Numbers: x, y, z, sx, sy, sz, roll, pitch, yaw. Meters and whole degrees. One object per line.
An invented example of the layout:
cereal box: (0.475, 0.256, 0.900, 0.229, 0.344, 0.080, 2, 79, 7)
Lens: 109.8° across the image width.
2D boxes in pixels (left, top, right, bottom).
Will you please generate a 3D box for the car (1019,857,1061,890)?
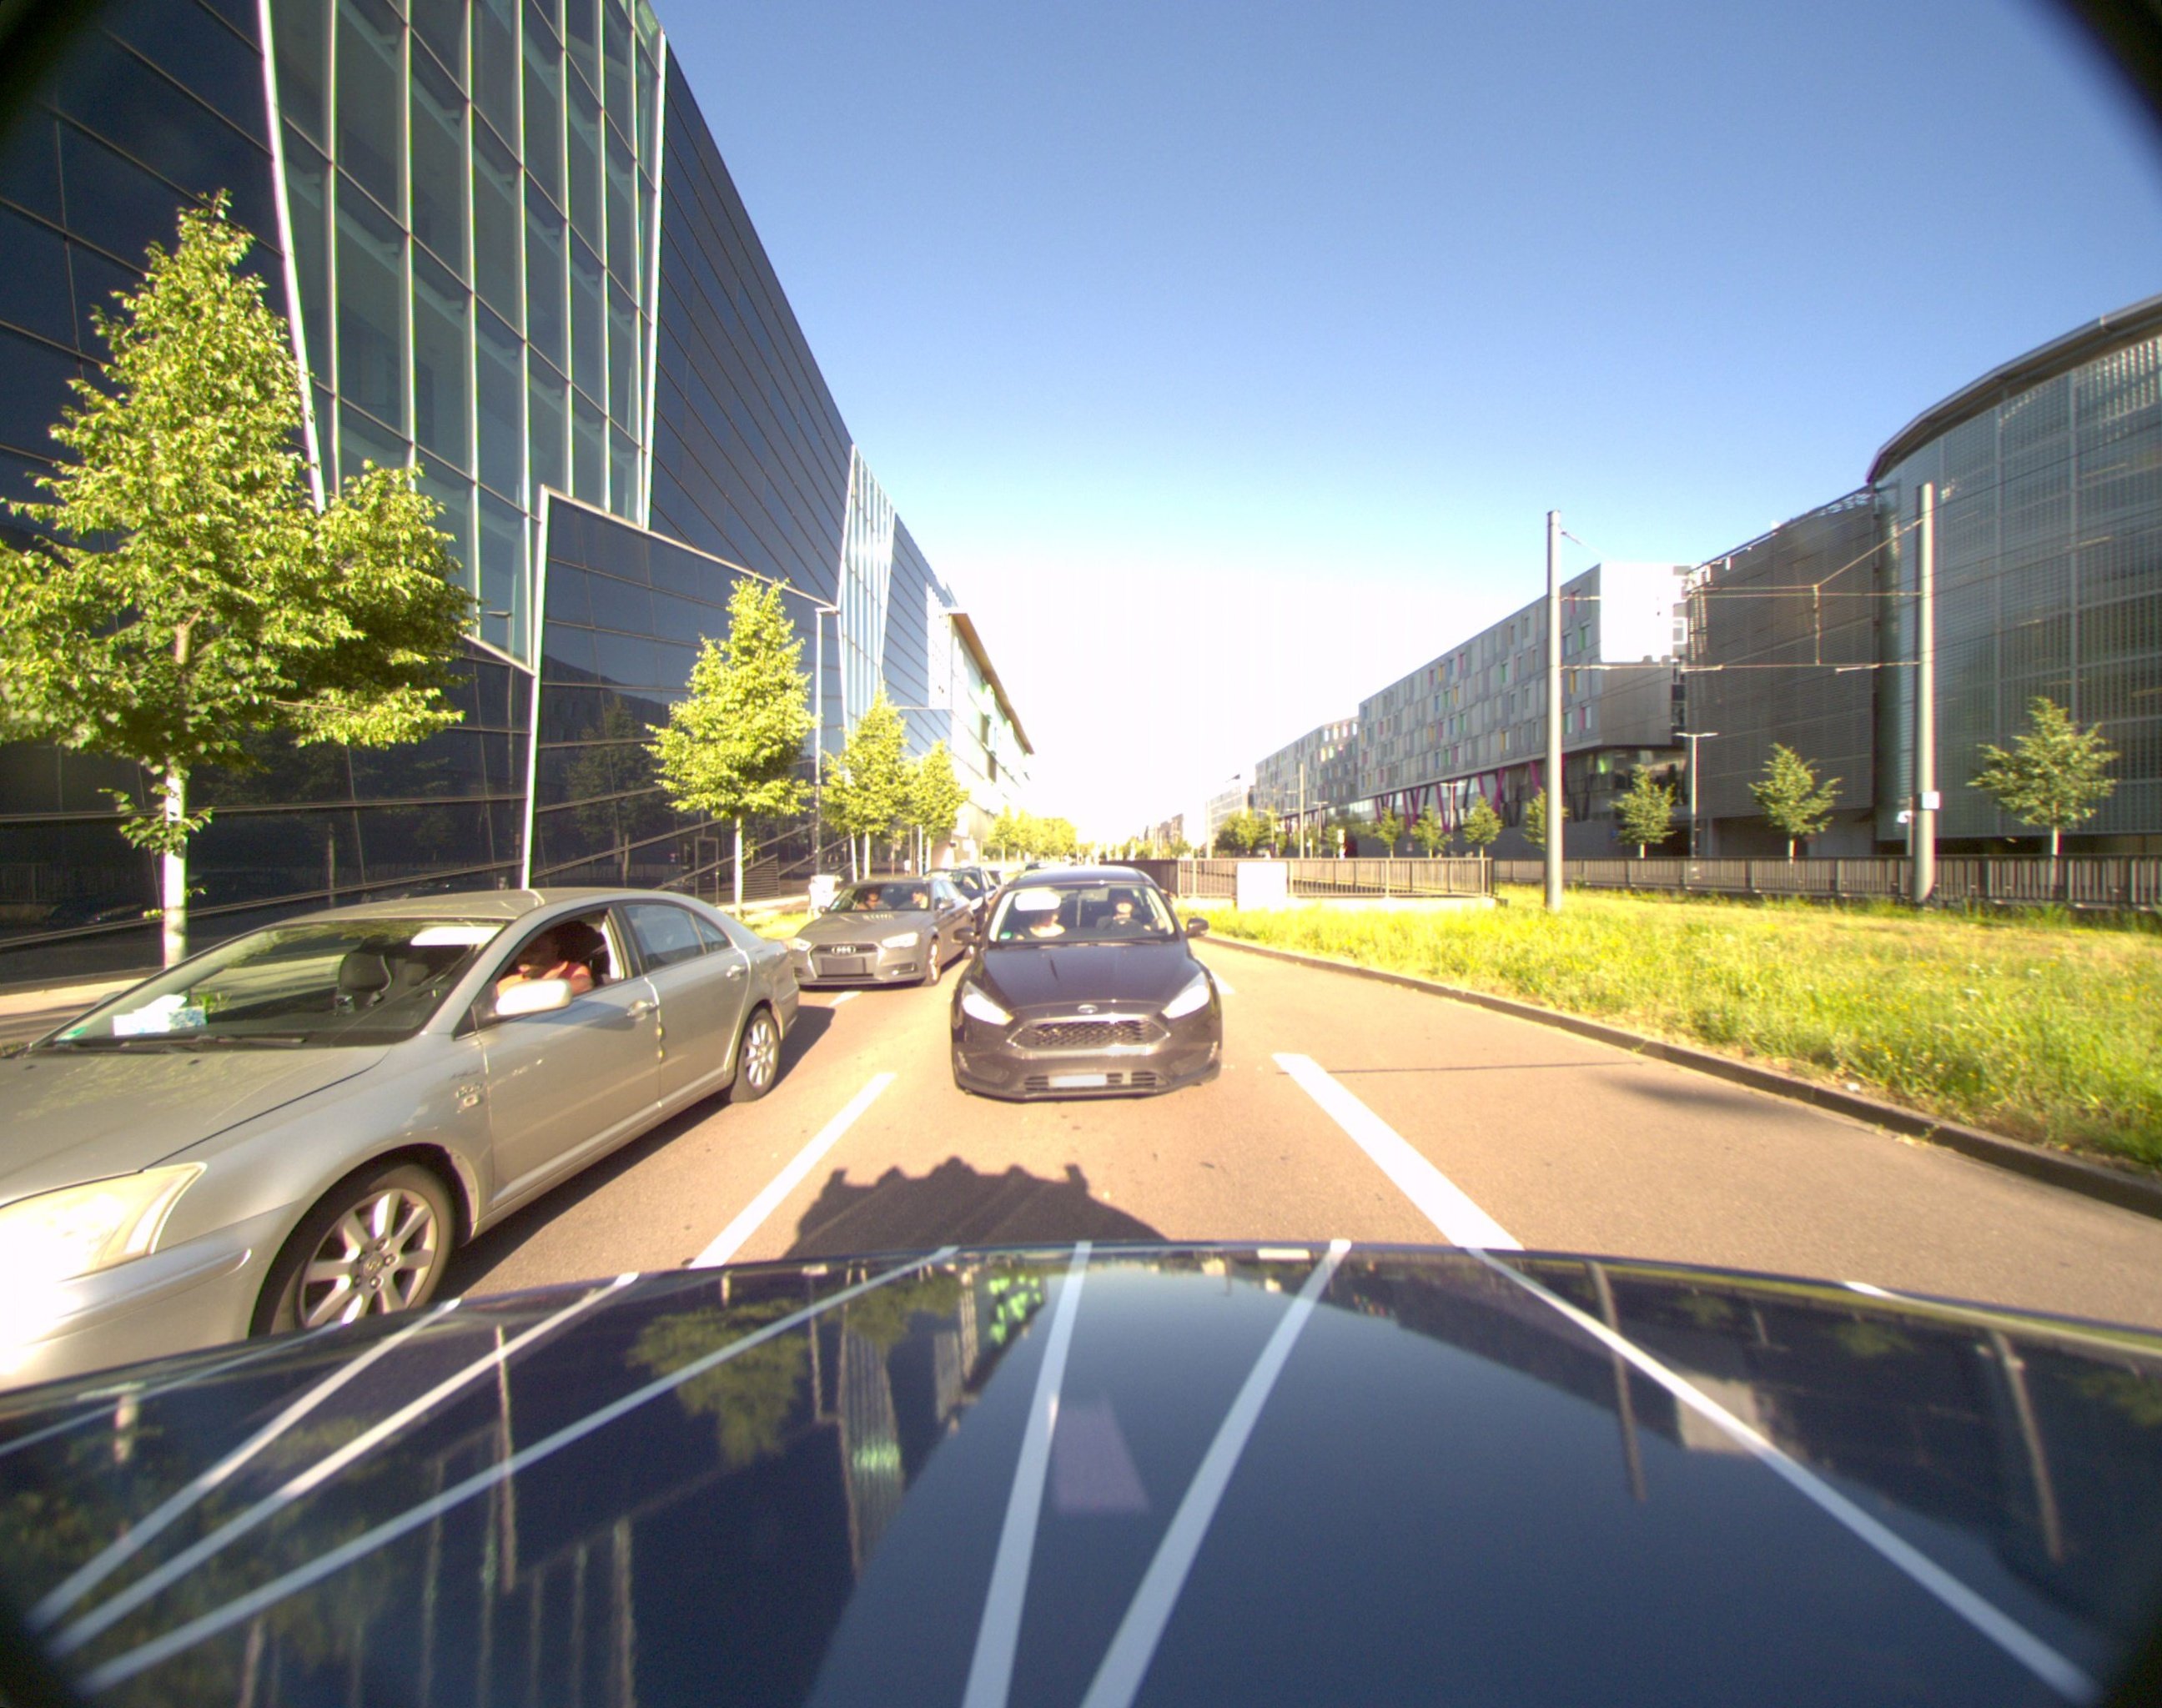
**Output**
car: (-2.098, 1.001, 40.005, 1.907, 1.612, 4.000, 0, 0, 1)

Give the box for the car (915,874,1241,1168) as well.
car: (-0.001, 1.002, 6.561, 1.787, 1.499, 4.590, -2, 0, 0)

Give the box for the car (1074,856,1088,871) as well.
car: (-0.015, 1.346, 110.872, 1.998, 2.002, 4.000, -2, 1, 1)

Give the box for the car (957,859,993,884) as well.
car: (-7.042, 1.136, 50.843, 1.740, 1.489, 4.715, 1, 0, 0)

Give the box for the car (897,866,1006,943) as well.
car: (-2.811, 1.047, 17.395, 1.753, 1.469, 3.972, -2, 0, 0)

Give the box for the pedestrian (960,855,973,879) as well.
pedestrian: (-8.956, 0.982, 59.511, 0.828, 1.814, 0.905, 3, 0, 0)

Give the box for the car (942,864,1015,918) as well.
car: (-3.081, 1.075, 23.479, 1.753, 1.469, 3.418, -2, 0, 0)

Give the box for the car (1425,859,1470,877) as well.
car: (32.497, 1.243, 67.469, 1.998, 1.492, 4.244, -1, 0, 1)

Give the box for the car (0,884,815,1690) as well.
car: (-3.056, 0.991, 3.715, 1.750, 1.473, 4.628, -1, 0, 2)

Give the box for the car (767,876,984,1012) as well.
car: (-2.648, 1.104, 10.897, 1.750, 1.384, 4.264, -2, 0, 3)
